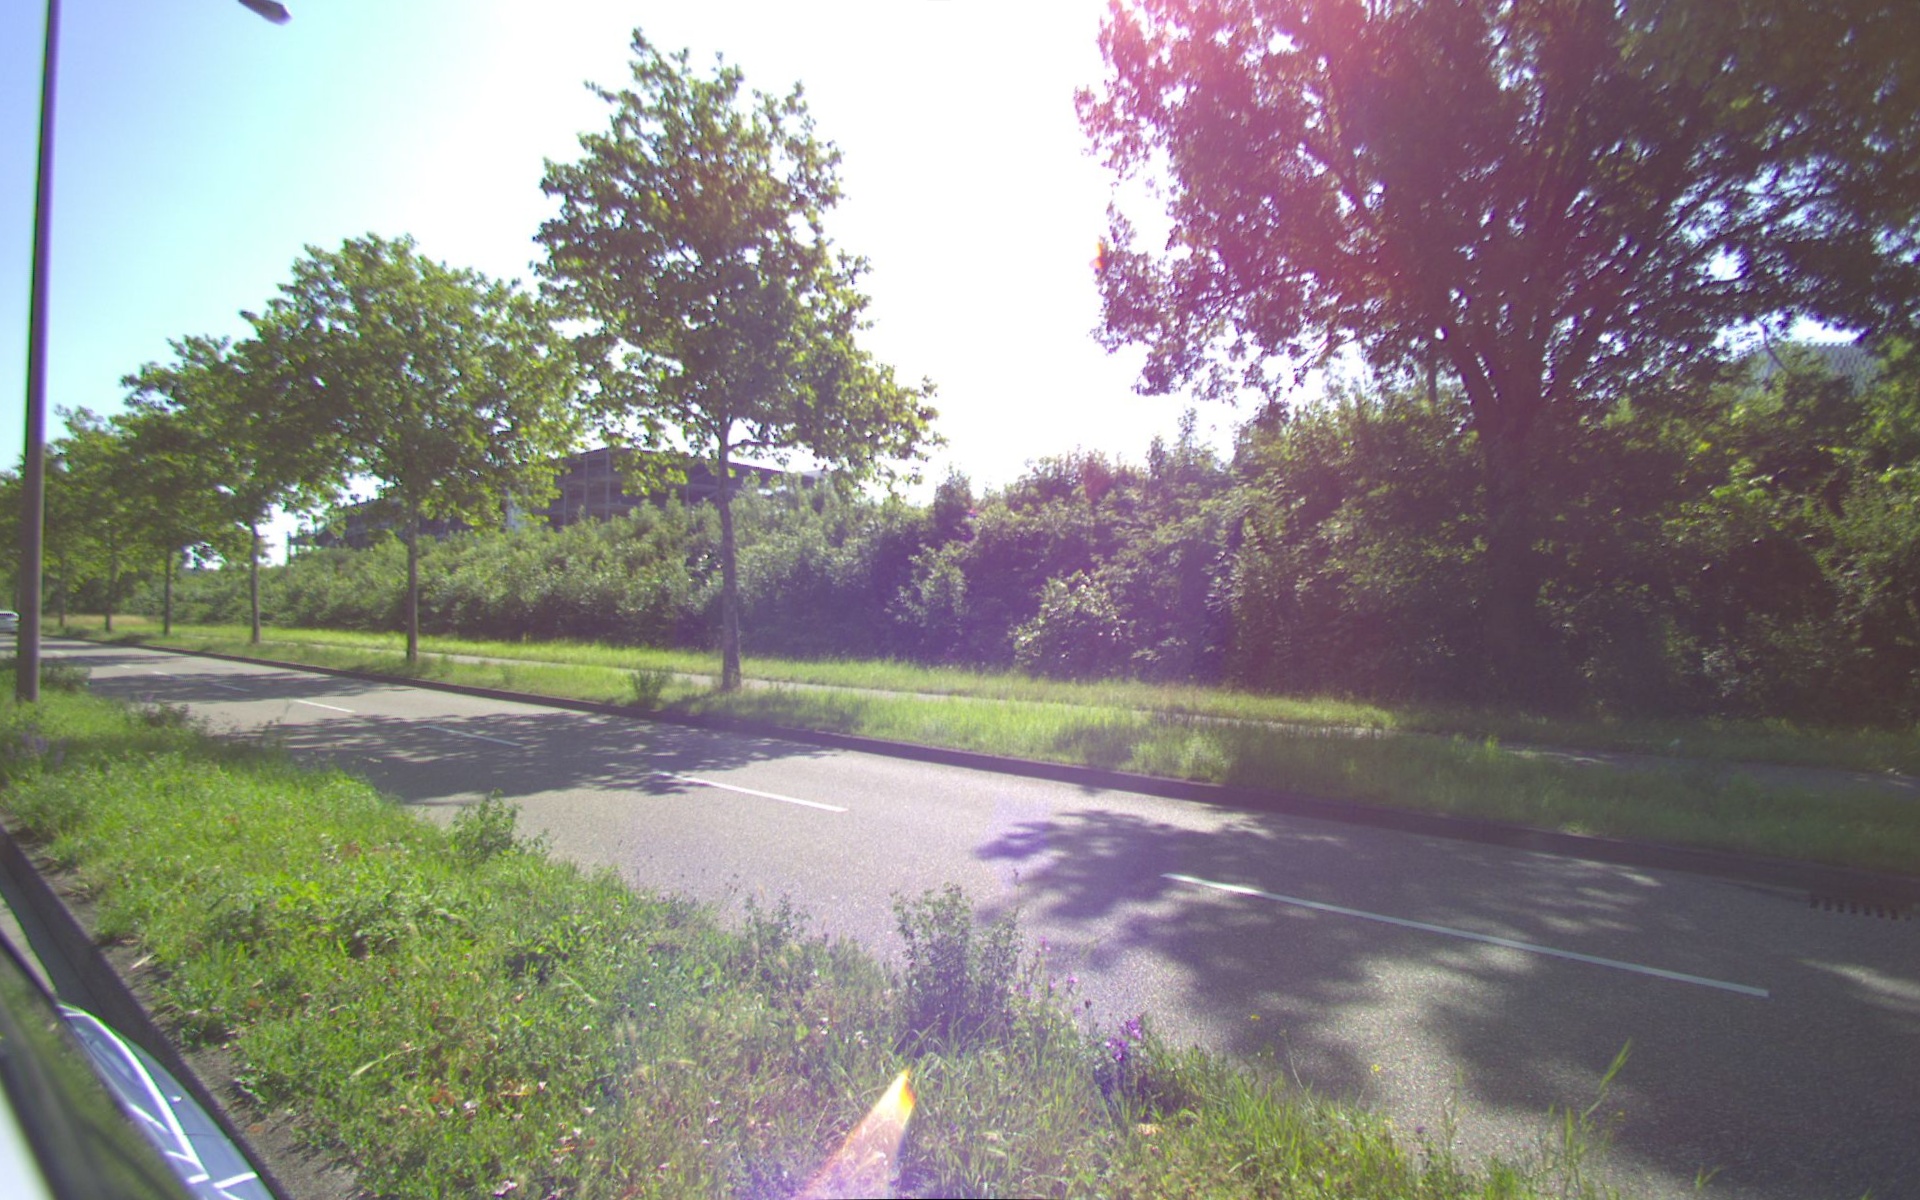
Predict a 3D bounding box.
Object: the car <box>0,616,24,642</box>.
[{"bbox_3d":[-57.384,1.725,60.364,3.995,1.519,1.683,-1,-2,39],"label":"car"}]
